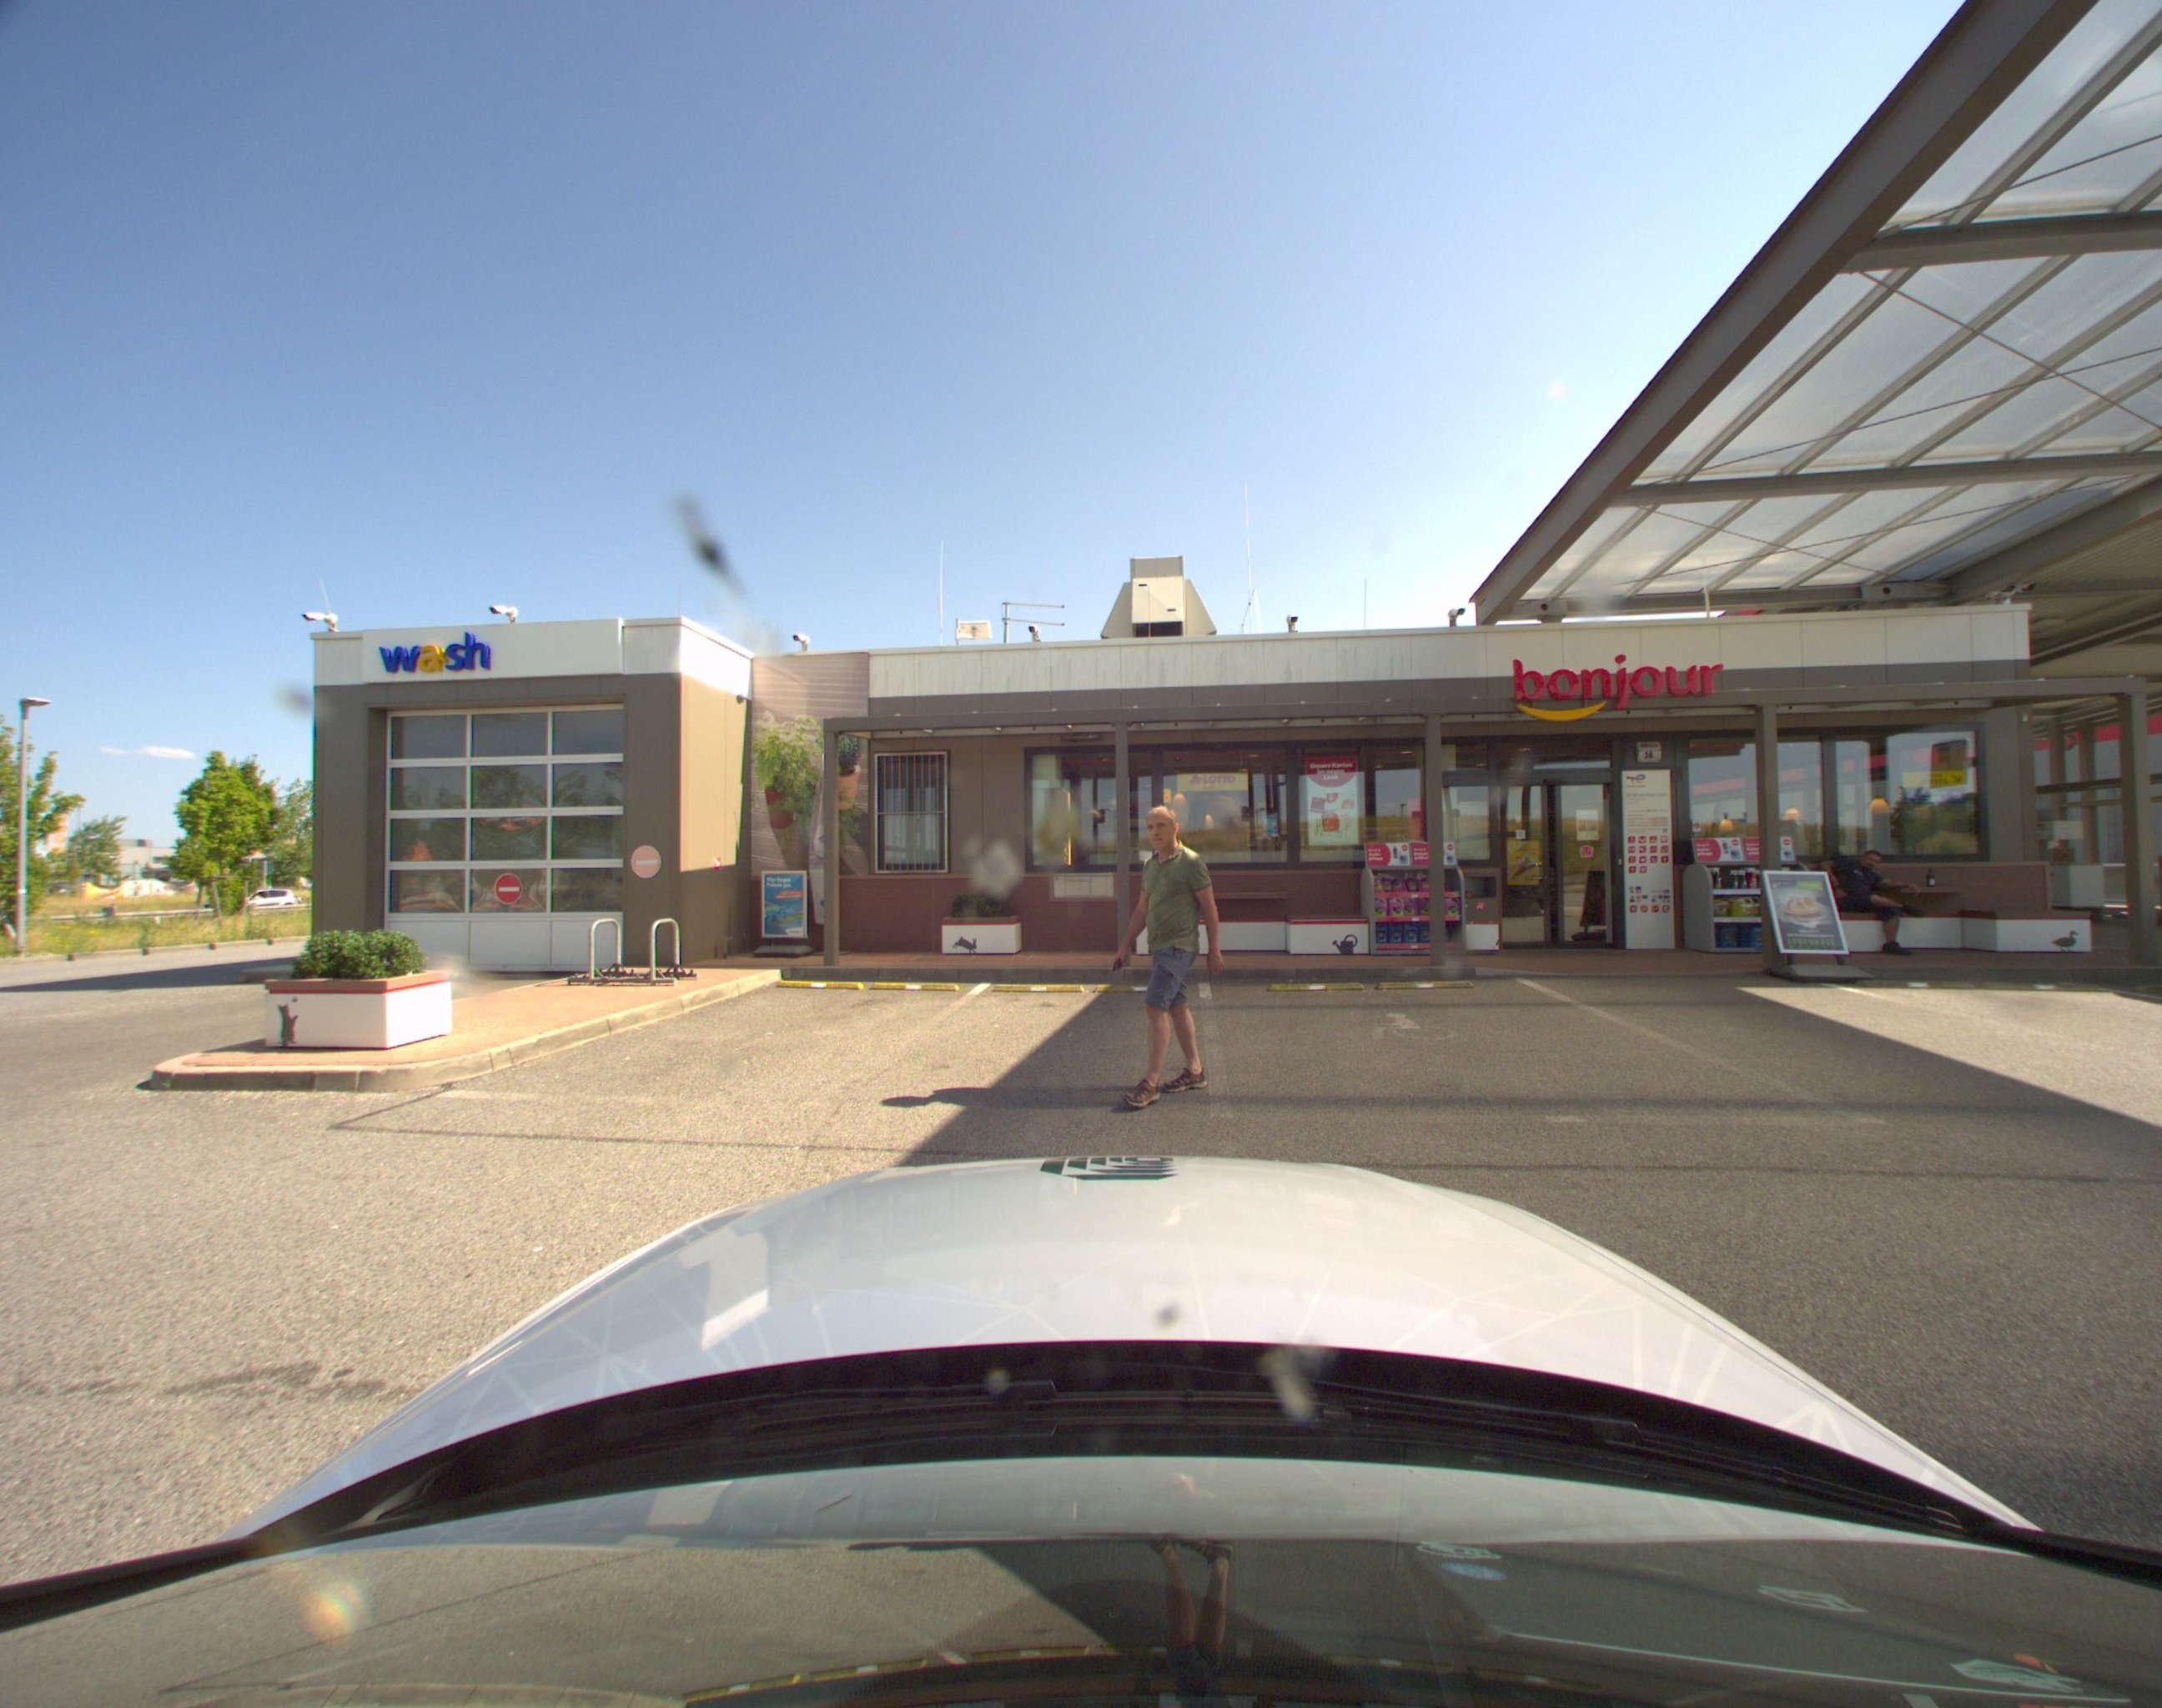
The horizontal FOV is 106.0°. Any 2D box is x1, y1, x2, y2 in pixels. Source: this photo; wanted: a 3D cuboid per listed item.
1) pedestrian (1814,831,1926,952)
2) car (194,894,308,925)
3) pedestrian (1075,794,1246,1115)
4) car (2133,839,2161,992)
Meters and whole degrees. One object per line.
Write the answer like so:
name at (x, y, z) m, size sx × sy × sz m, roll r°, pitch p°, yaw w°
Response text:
pedestrian at (9.721, 0.451, 10.058) m, size 0.698 × 1.432 × 0.674 m, roll -1°, pitch -1°, yaw 5°
car at (-49.162, 3.244, 48.393) m, size 1.930 × 1.604 × 4.437 m, roll -1°, pitch -1°, yaw 8°
pedestrian at (0.513, 0.564, 5.120) m, size 0.694 × 1.797 × 0.868 m, roll -2°, pitch -1°, yaw 36°
car at (11.148, 0.556, 5.772) m, size 1.824 × 1.457 × 4.321 m, roll -1°, pitch 0°, yaw 0°
